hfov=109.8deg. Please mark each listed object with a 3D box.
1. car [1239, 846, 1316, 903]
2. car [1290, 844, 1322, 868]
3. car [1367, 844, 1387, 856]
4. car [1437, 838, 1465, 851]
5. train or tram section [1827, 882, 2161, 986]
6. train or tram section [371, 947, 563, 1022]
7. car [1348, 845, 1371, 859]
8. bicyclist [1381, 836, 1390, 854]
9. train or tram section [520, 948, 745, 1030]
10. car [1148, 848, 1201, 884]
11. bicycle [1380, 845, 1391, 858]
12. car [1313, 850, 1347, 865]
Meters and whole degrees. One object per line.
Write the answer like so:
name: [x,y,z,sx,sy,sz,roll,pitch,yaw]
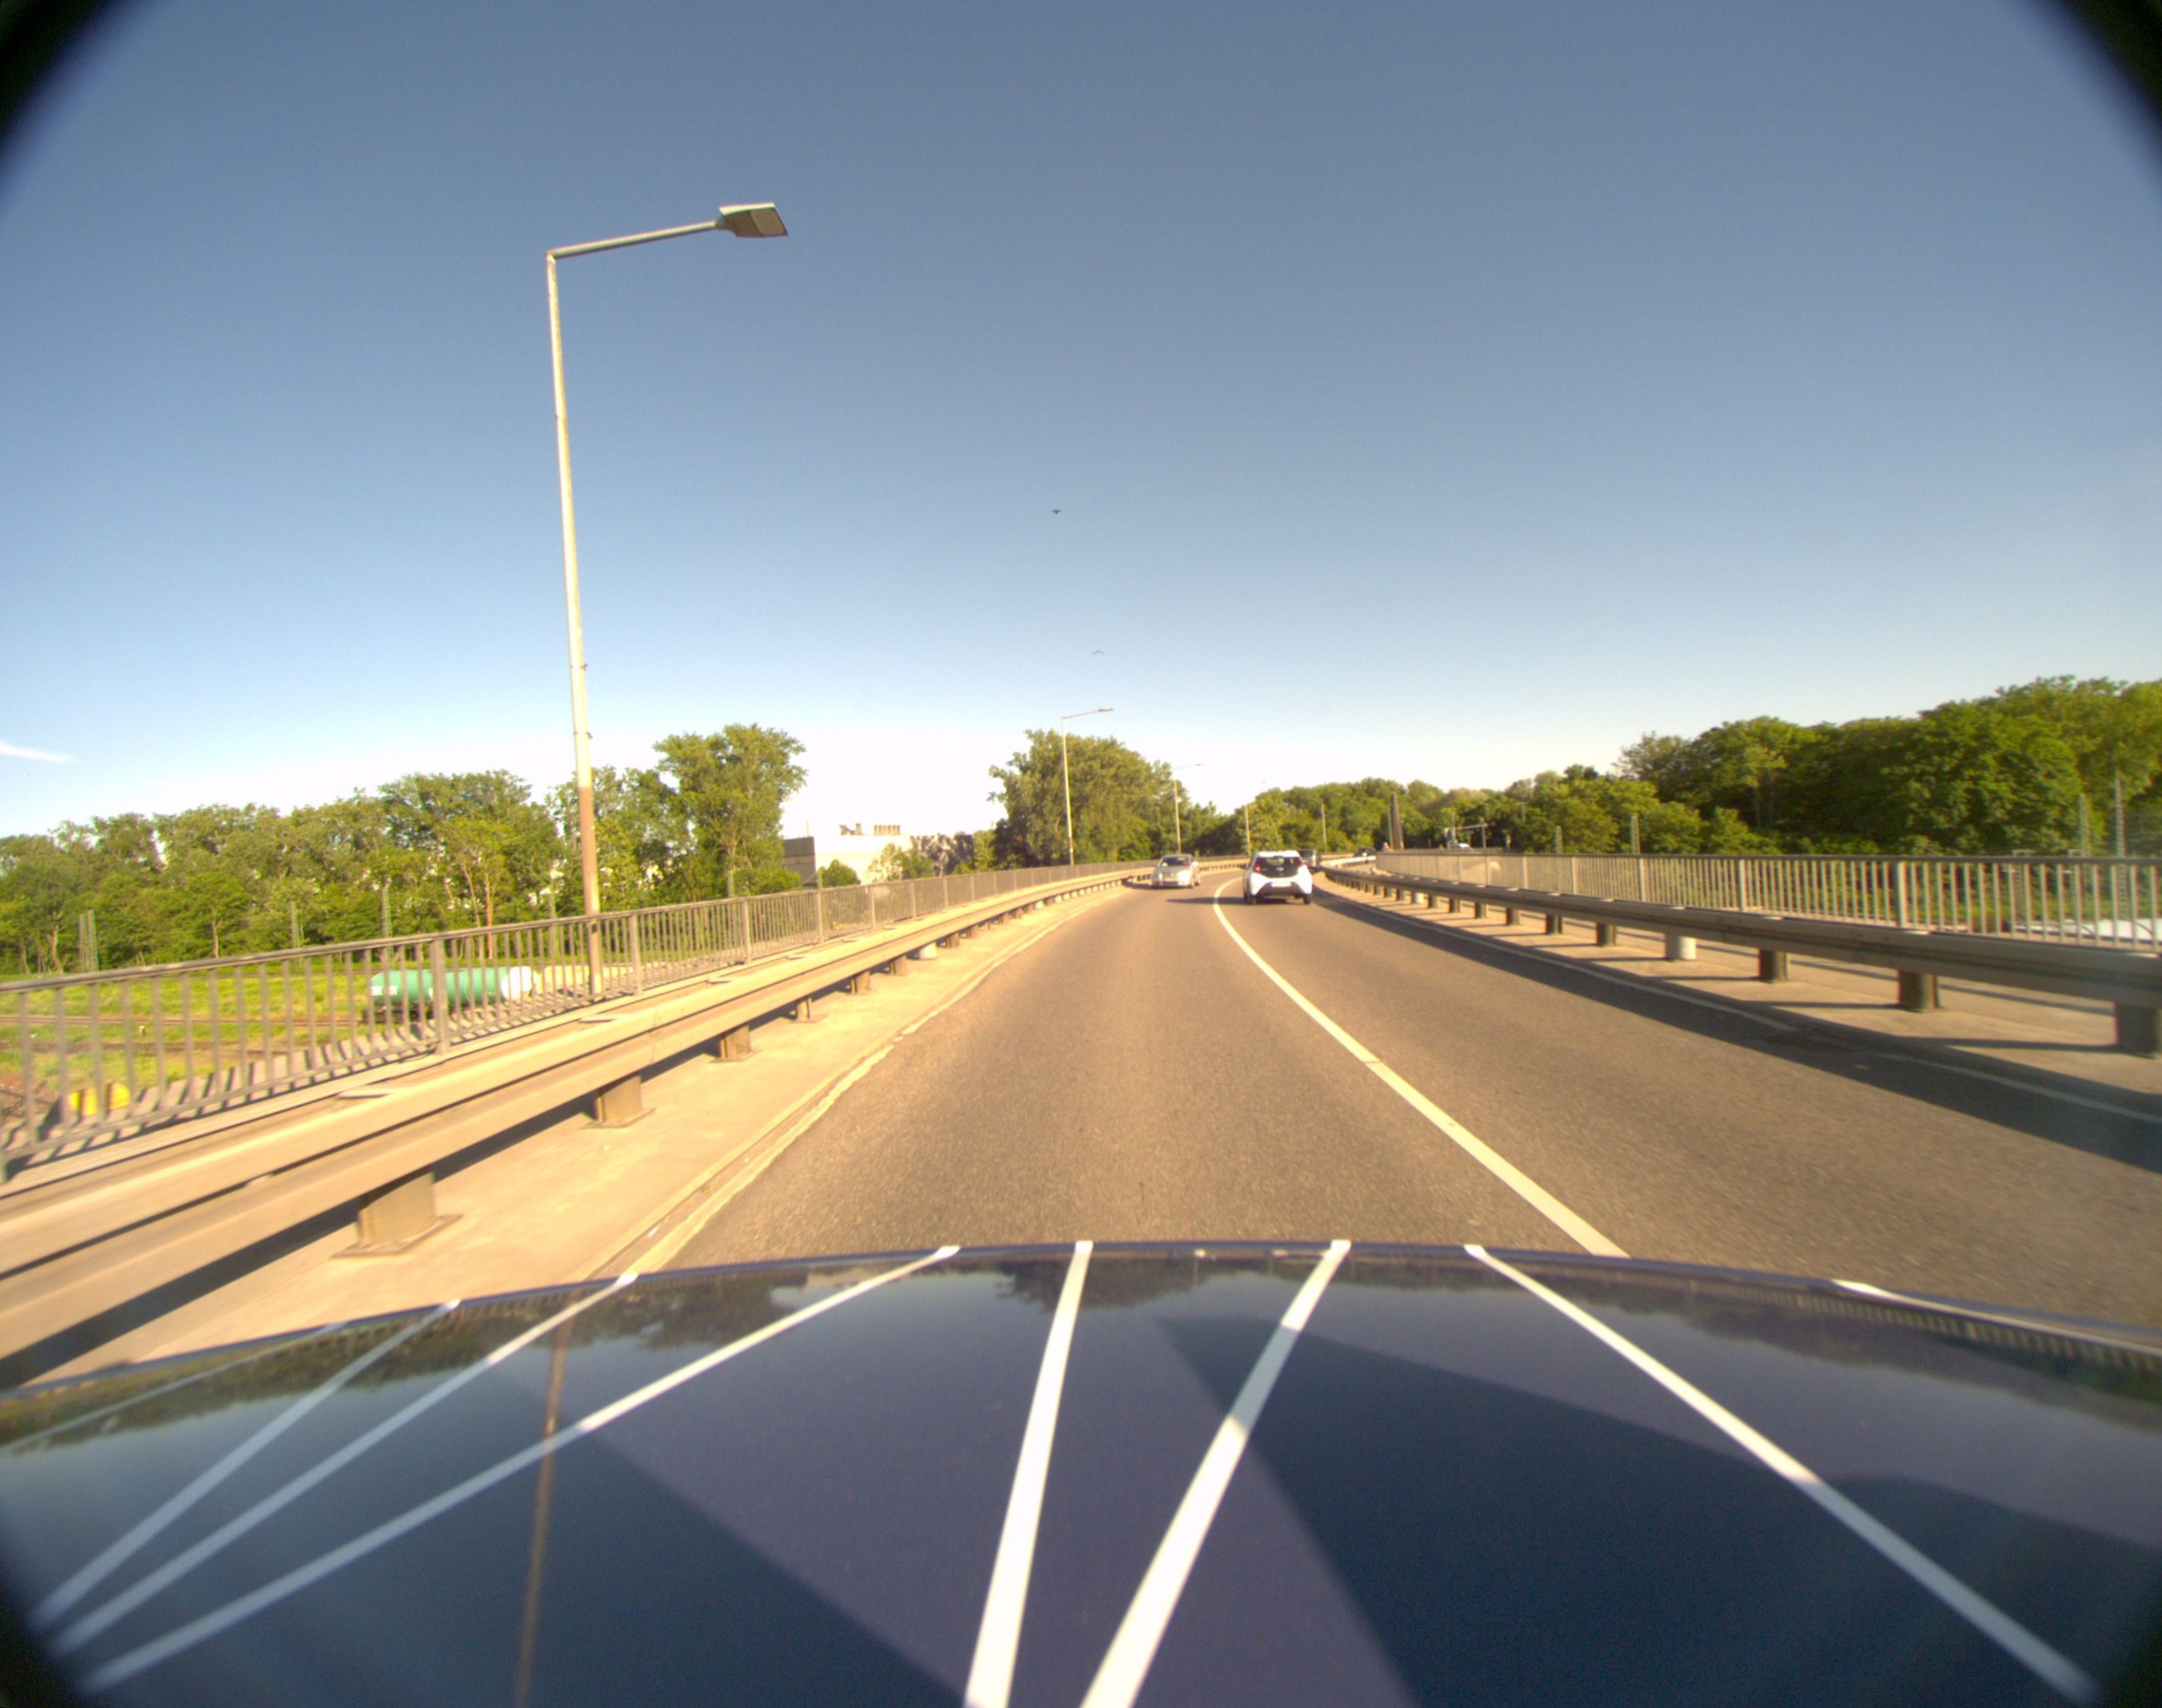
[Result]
car: [5.640,0.537,22.167,1.840,1.510,3.772,-1,0,10]
car: [16.457,0.116,55.406,1.850,1.614,4.108,-1,0,21]
car: [33.154,-0.463,85.007,1.746,1.347,4.189,-1,0,26]
car: [80.098,-2.104,164.509,2.116,2.484,5.700,-2,-1,-14]
train or tram section: [48.411,3.841,37.589,16.738,4.565,3.910,-1,1,14]
train or tram section: [-49.198,10.299,60.849,15.151,5.153,3.340,-1,1,14]
car: [34.845,-0.226,95.080,1.918,1.608,3.750,-1,1,34]
bicyclist: [26.696,-0.766,66.604,0.654,1.580,0.769,-1,1,30]
train or tram section: [-33.663,9.915,56.907,16.850,5.231,3.340,-1,1,14]
car: [4.157,0.498,33.229,1.762,1.428,4.334,-1,0,14]
bicycle: [26.701,-0.246,66.575,0.654,1.058,1.893,-1,1,30]
car: [27.680,0.389,84.379,1.989,1.465,4.138,-1,1,44]
